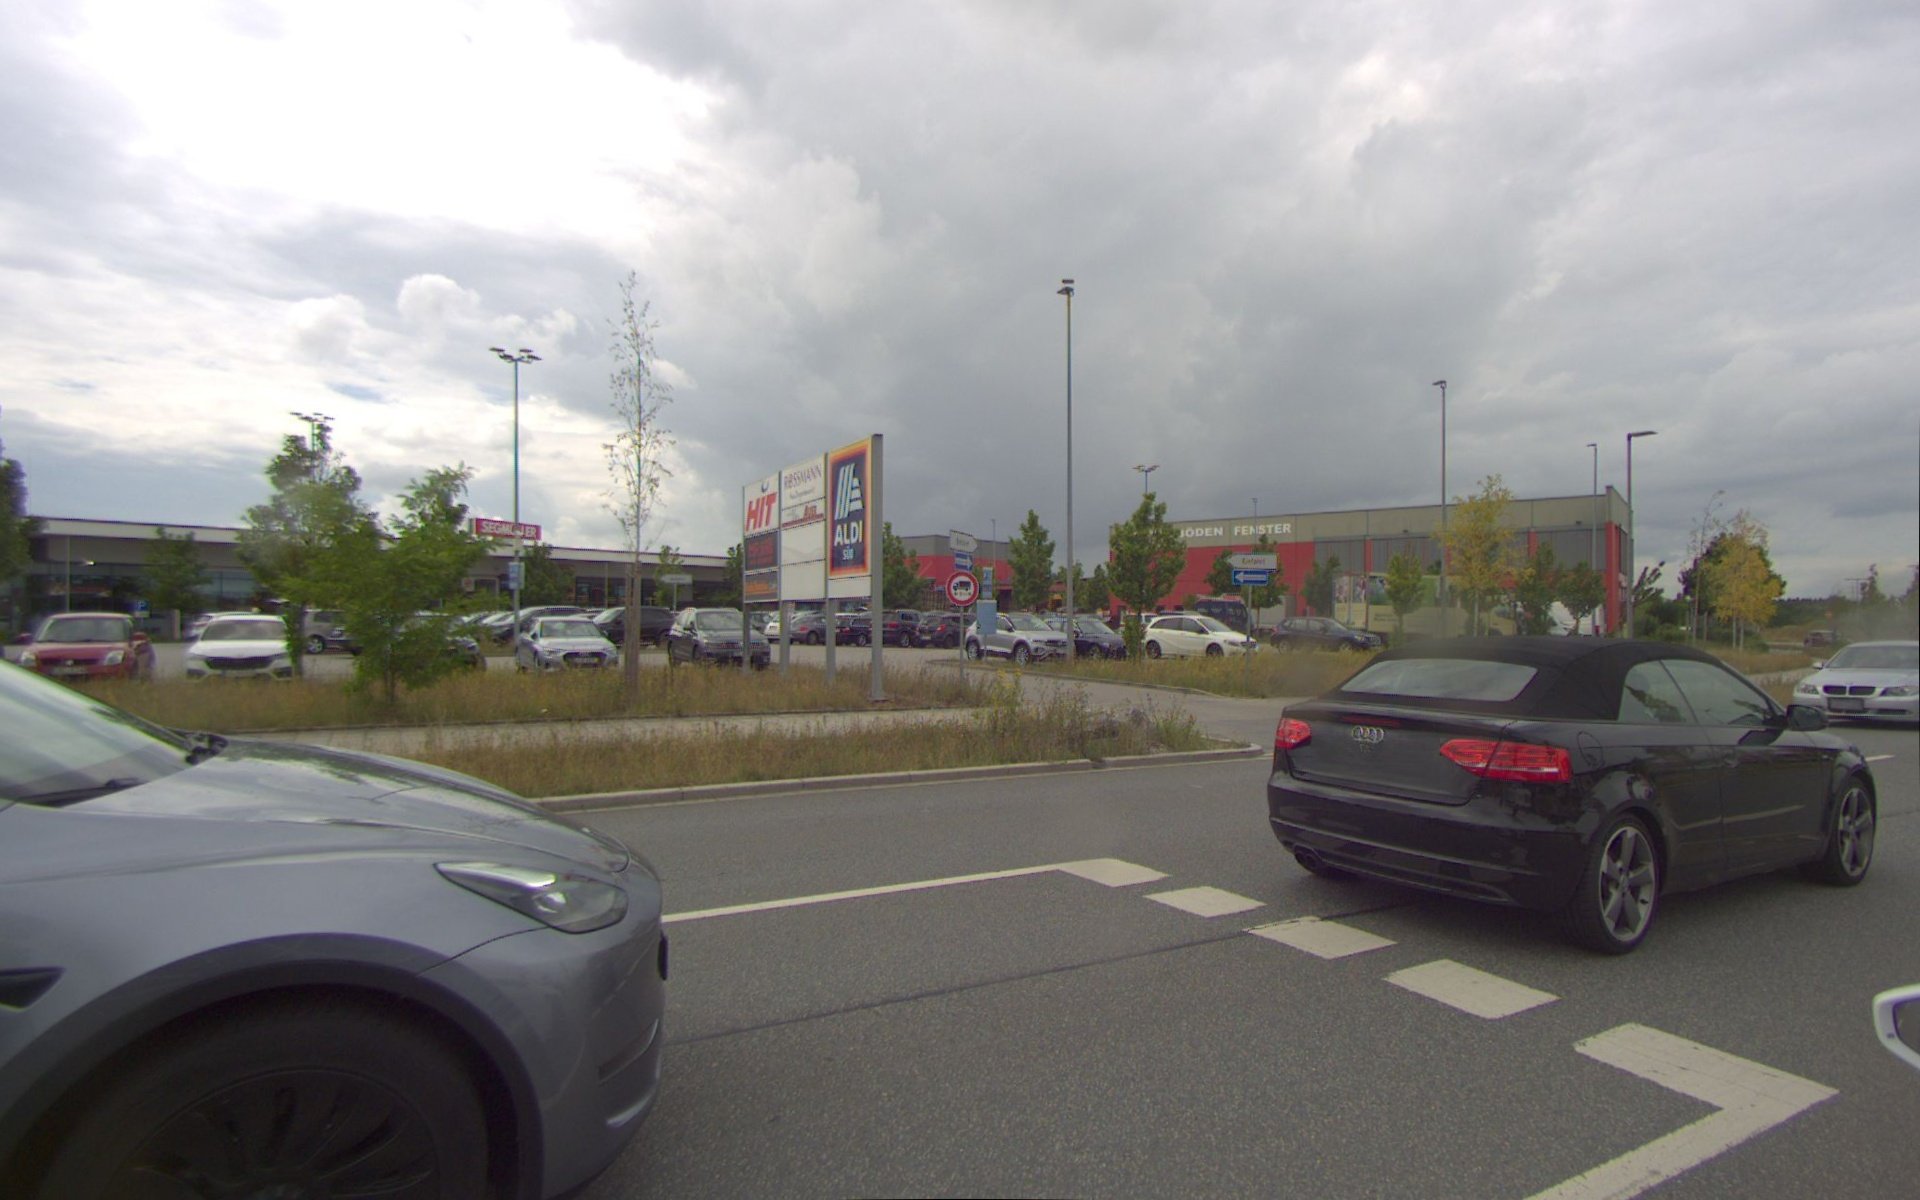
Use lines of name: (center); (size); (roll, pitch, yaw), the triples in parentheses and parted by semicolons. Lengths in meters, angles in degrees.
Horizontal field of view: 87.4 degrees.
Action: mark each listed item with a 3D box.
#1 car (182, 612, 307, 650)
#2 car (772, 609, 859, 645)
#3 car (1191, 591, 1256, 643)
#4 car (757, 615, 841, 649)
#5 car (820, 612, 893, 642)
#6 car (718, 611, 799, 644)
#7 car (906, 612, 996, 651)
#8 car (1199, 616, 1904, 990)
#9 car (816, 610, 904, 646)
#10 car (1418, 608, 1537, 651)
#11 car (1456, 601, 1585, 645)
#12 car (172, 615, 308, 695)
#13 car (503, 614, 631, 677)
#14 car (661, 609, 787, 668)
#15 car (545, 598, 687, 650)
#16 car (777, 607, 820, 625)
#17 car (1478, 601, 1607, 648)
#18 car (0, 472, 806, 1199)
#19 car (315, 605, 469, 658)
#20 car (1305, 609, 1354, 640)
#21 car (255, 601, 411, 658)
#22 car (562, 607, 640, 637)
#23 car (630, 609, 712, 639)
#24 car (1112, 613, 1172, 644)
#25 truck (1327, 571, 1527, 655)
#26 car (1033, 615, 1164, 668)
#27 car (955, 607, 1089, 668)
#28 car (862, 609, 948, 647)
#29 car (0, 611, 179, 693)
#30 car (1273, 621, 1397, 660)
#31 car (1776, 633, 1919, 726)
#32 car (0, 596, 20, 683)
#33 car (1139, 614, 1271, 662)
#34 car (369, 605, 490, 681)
car: (-30.755, 1.322, 43.250); (1.969, 1.566, 3.984); (-1, -1, 38)
car: (-6.933, 1.304, 48.608); (1.967, 1.628, 3.986); (0, -1, 36)
car: (14.625, 0.960, 55.574); (2.030, 2.726, 5.133); (0, -1, 33)
car: (-8.158, 1.608, 51.196); (1.968, 1.628, 3.986); (-1, -1, 36)
car: (-5.835, 1.534, 56.935); (1.968, 1.628, 3.986); (-1, -1, 36)
car: (-10.569, 1.433, 52.822); (1.883, 1.628, 3.986); (-1, -1, 36)
car: (-0.353, 1.372, 44.228); (1.968, 1.628, 3.986); (-1, -1, 36)
car: (3.529, 0.870, 5.784); (4.183, 1.456, 1.760); (2, -2, -31)
car: (-4.658, 1.316, 47.229); (1.968, 1.628, 3.986); (-1, -1, 36)
car: (25.747, 1.435, 50.075); (2.163, 2.016, 4.857); (2, -2, -42)
car: (30.971, 1.241, 55.607); (5.996, 2.337, 2.200); (0, -1, 39)
car: (-14.779, 1.056, 20.842); (1.988, 1.476, 4.295); (1, -1, -32)
car: (-9.526, 1.034, 24.157); (2.006, 1.357, 4.286); (1, -1, -34)
car: (-6.305, 0.961, 26.464); (2.139, 1.409, 4.339); (1, -1, -29)
car: (-12.423, 0.884, 36.551); (1.969, 1.769, 4.566); (0, -2, 38)
car: (-15.118, 1.476, 93.994); (1.987, 1.628, 3.947); (2, -2, -45)
car: (34.311, 1.412, 59.326); (6.333, 2.633, 2.233); (0, -1, 41)
car: (-2.799, 0.593, 1.948); (4.559, 1.582, 1.984); (1, -1, -31)
car: (-18.559, 1.004, 32.948); (1.969, 1.628, 3.984); (-1, -1, 38)
car: (26.034, 1.741, 70.706); (1.968, 2.060, 4.621); (-1, -2, 37)
car: (-22.566, 1.044, 36.314); (1.806, 1.947, 4.438); (0, -1, 31)
car: (-21.487, 1.319, 60.185); (1.968, 1.755, 3.986); (-1, -1, 36)
car: (-16.615, 1.371, 57.969); (1.968, 1.628, 4.278); (-1, -1, 36)
car: (10.686, 1.669, 58.819); (1.968, 1.752, 3.986); (-1, -1, 36)
truck: (21.181, 0.642, 45.661); (8.285, 3.588, 2.851); (1, -1, -14)
car: (4.370, 1.297, 32.298); (2.022, 1.533, 4.221); (1, -1, -30)
car: (1.866, 1.117, 31.332); (2.008, 1.746, 4.214); (2, -1, -35)
car: (-2.442, 1.269, 45.616); (1.824, 1.628, 3.986); (-1, -1, 36)
car: (-16.904, 0.946, 19.619); (1.976, 1.409, 4.066); (1, -1, -29)
car: (14.753, 1.566, 39.706); (1.979, 1.454, 4.201); (1, -1, -37)
car: (16.278, 1.302, 17.521); (4.449, 1.436, 1.826); (1, -2, -32)
car: (-19.015, 0.736, 18.235); (2.058, 1.677, 4.276); (1, -1, -33)
car: (8.583, 1.313, 35.422); (1.973, 1.580, 4.211); (1, -1, -40)
car: (-12.067, 0.919, 22.728); (2.214, 1.525, 4.344); (1, -1, -30)
